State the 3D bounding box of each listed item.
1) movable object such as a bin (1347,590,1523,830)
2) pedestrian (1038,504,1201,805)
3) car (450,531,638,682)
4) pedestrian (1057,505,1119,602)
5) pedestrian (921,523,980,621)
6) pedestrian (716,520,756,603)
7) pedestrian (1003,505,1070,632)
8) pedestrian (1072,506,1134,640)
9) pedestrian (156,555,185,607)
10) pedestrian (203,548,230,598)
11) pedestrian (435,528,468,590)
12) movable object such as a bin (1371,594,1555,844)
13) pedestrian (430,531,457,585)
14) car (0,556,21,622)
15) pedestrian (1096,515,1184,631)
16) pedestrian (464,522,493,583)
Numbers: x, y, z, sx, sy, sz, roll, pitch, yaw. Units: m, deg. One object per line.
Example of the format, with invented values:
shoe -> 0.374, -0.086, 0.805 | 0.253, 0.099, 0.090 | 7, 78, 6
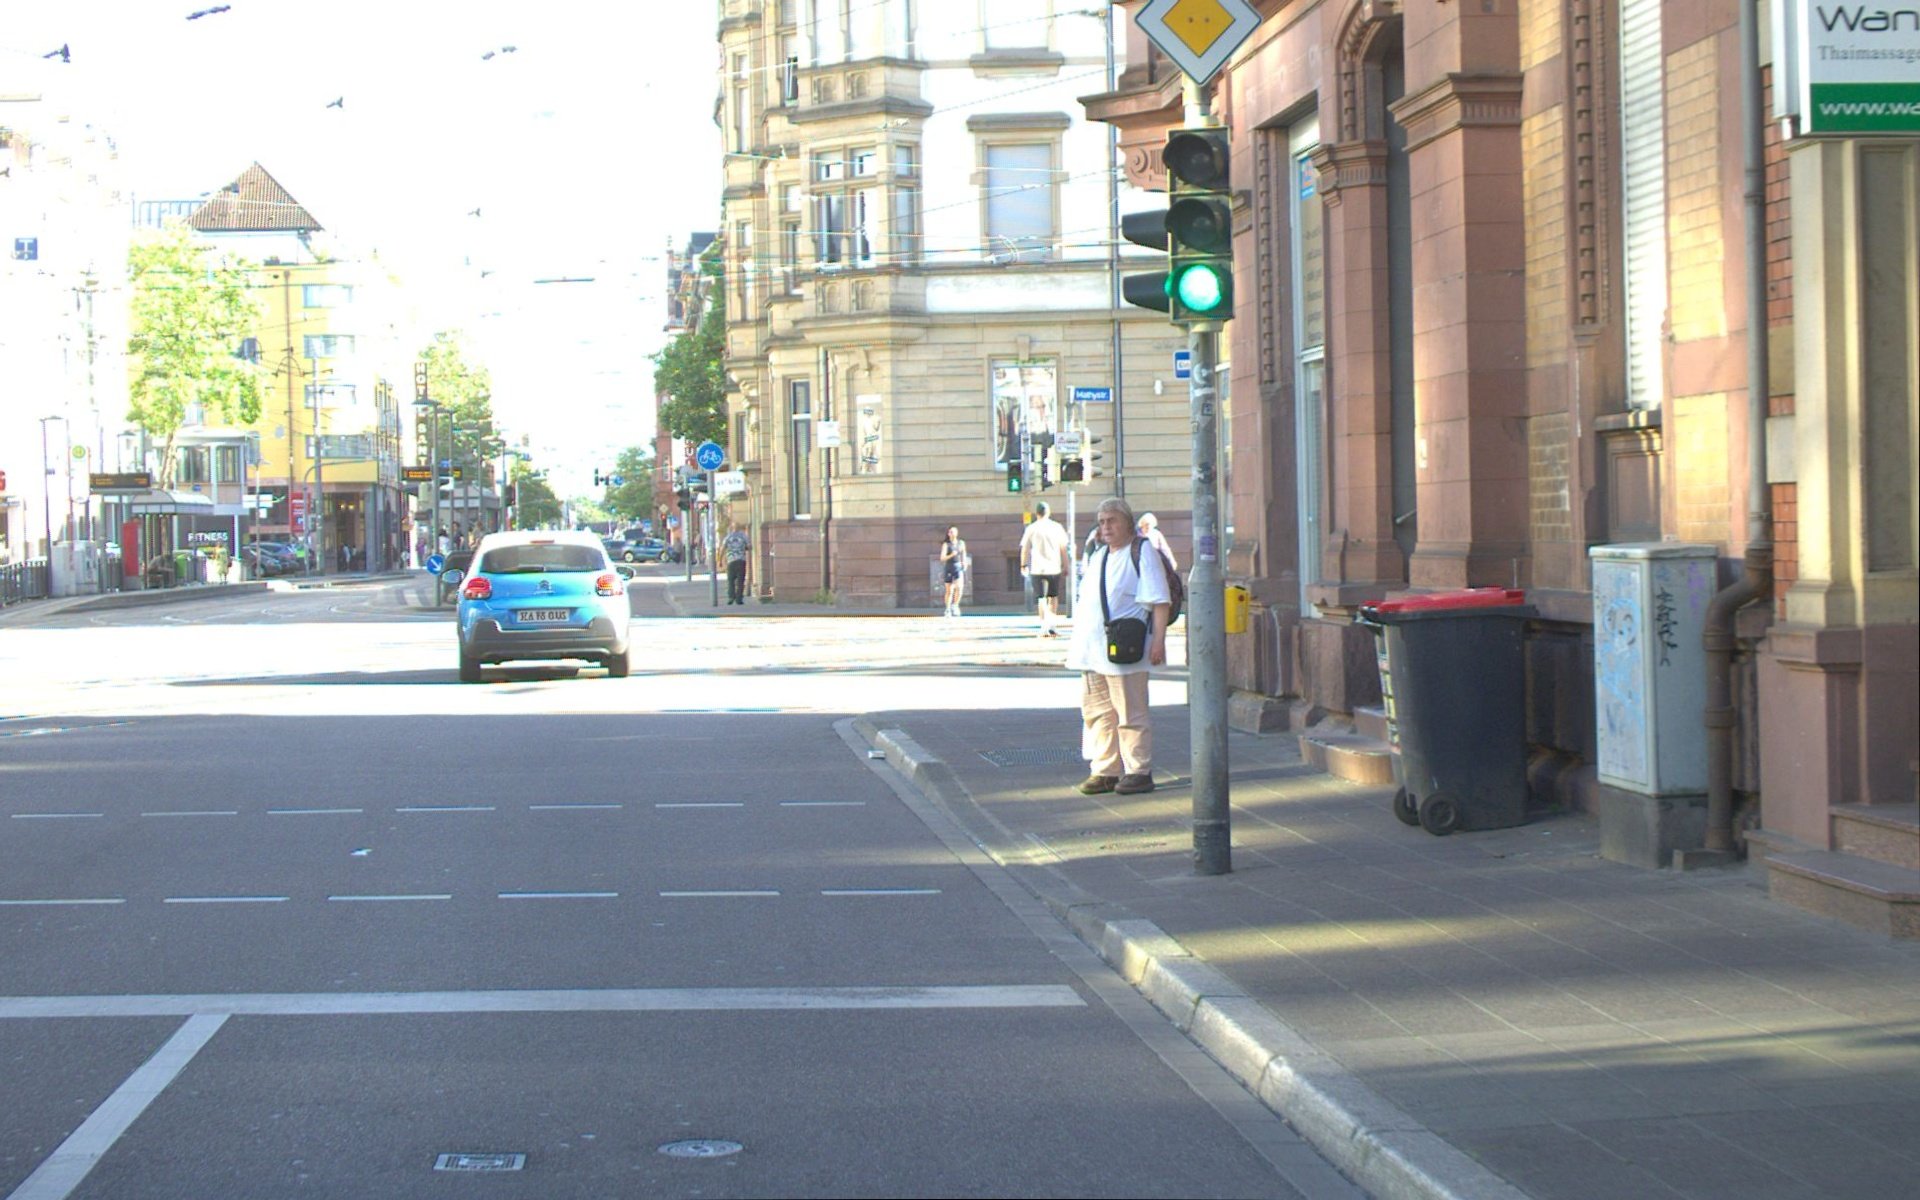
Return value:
movable object such as a bin -> 2.243, 0.511, 16.277 | 0.663, 1.069, 0.545 | -4, 1, -3
pedestrian -> 0.867, 0.284, 18.815 | 0.681, 1.602, 0.731 | -1, 1, -14
car -> -4.203, 0.028, 35.182 | 1.781, 1.446, 3.655 | 1, 1, -5
pedestrian -> 2.078, -0.753, 55.637 | 0.633, 1.532, 0.940 | -1, 0, 27
pedestrian -> -0.157, -0.478, 58.707 | 0.922, 1.626, 0.942 | -1, 0, 3
pedestrian -> -4.819, -0.835, 73.883 | 0.779, 1.743, 1.093 | -1, 3, -8
pedestrian -> 1.012, -0.414, 45.292 | 0.701, 1.649, 0.631 | -1, 0, 17
pedestrian -> 1.877, -0.357, 45.159 | 0.644, 1.739, 0.705 | 1, 0, 16
pedestrian -> -23.443, -0.559, 102.106 | 0.731, 1.522, 0.743 | -1, 2, -6
pedestrian -> -23.395, -0.860, 108.166 | 0.731, 1.553, 0.743 | -1, 2, -6
pedestrian -> -14.778, -1.198, 99.971 | 0.718, 1.771, 0.564 | 0, 1, 31
movable object such as a bin -> 2.289, 0.532, 15.694 | 0.663, 1.069, 0.591 | -4, 1, -3
pedestrian -> -14.957, -1.223, 99.553 | 0.586, 1.556, 0.469 | 0, 1, 31
car -> -28.869, -0.315, 100.098 | 2.226, 1.904, 4.610 | -1, 1, -6
pedestrian -> 2.583, -0.388, 49.350 | 0.923, 1.626, 0.940 | -1, 0, 27
pedestrian -> -13.335, -1.312, 95.189 | 0.636, 1.692, 0.933 | 1, 0, 2
